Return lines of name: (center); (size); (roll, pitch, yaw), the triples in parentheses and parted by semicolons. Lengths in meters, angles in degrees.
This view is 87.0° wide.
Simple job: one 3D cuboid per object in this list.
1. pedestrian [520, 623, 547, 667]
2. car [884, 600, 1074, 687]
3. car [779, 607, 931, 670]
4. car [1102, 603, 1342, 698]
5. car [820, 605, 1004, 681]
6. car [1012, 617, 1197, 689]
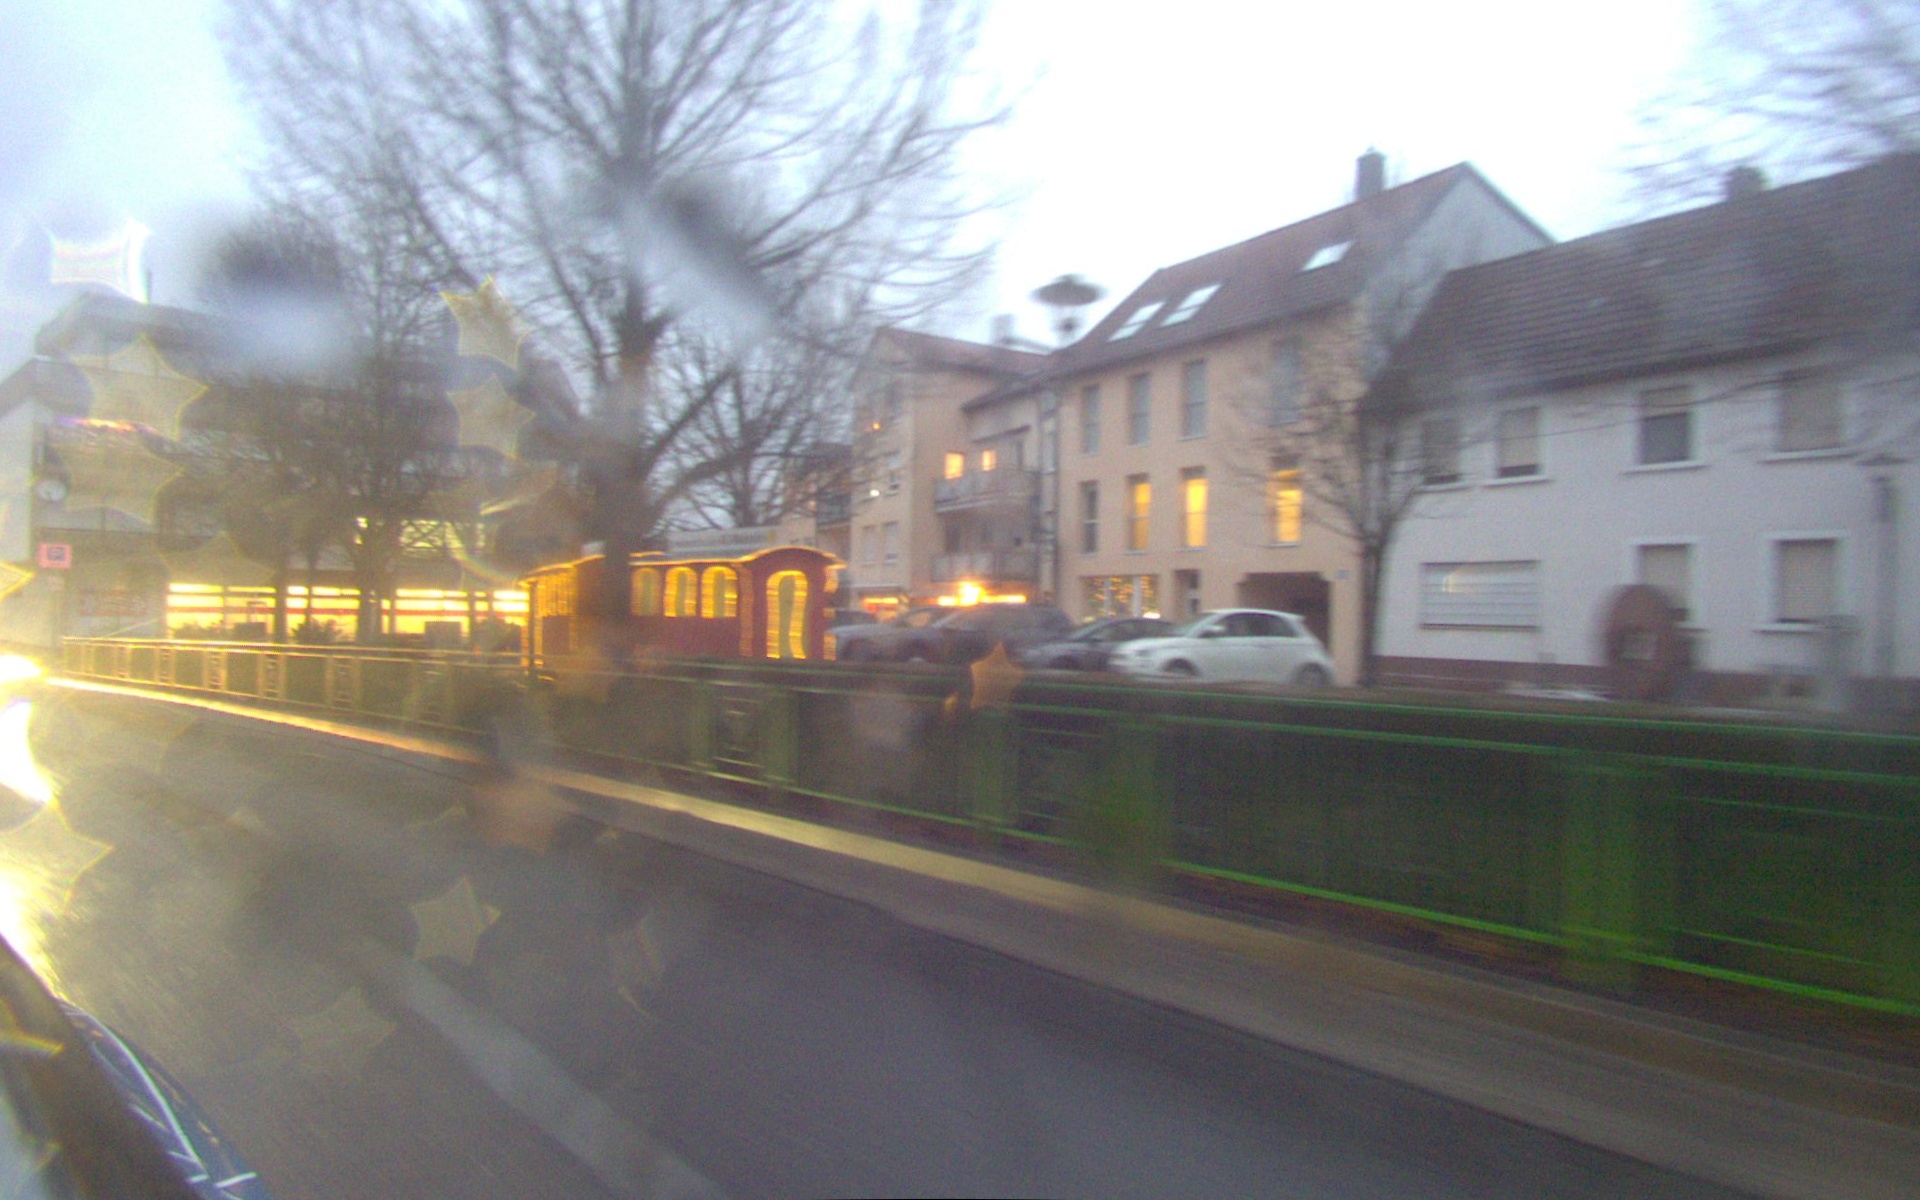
pedestrian: (-13.193, 1.384, 31.298); (0.611, 1.349, 0.568); (0, -2, -38)
car: (0.354, 0.856, 20.661); (3.575, 1.624, 1.614); (-1, -1, -12)
car: (-2.896, 1.037, 27.775); (3.932, 1.645, 1.639); (0, -2, -15)
car: (4.262, 0.791, 16.703); (3.429, 1.420, 1.614); (-1, -1, -10)
car: (-1.117, 0.959, 23.303); (3.931, 1.645, 1.639); (0, -2, -17)
car: (2.645, 0.947, 18.833); (3.005, 1.229, 1.614); (-1, -1, -12)
